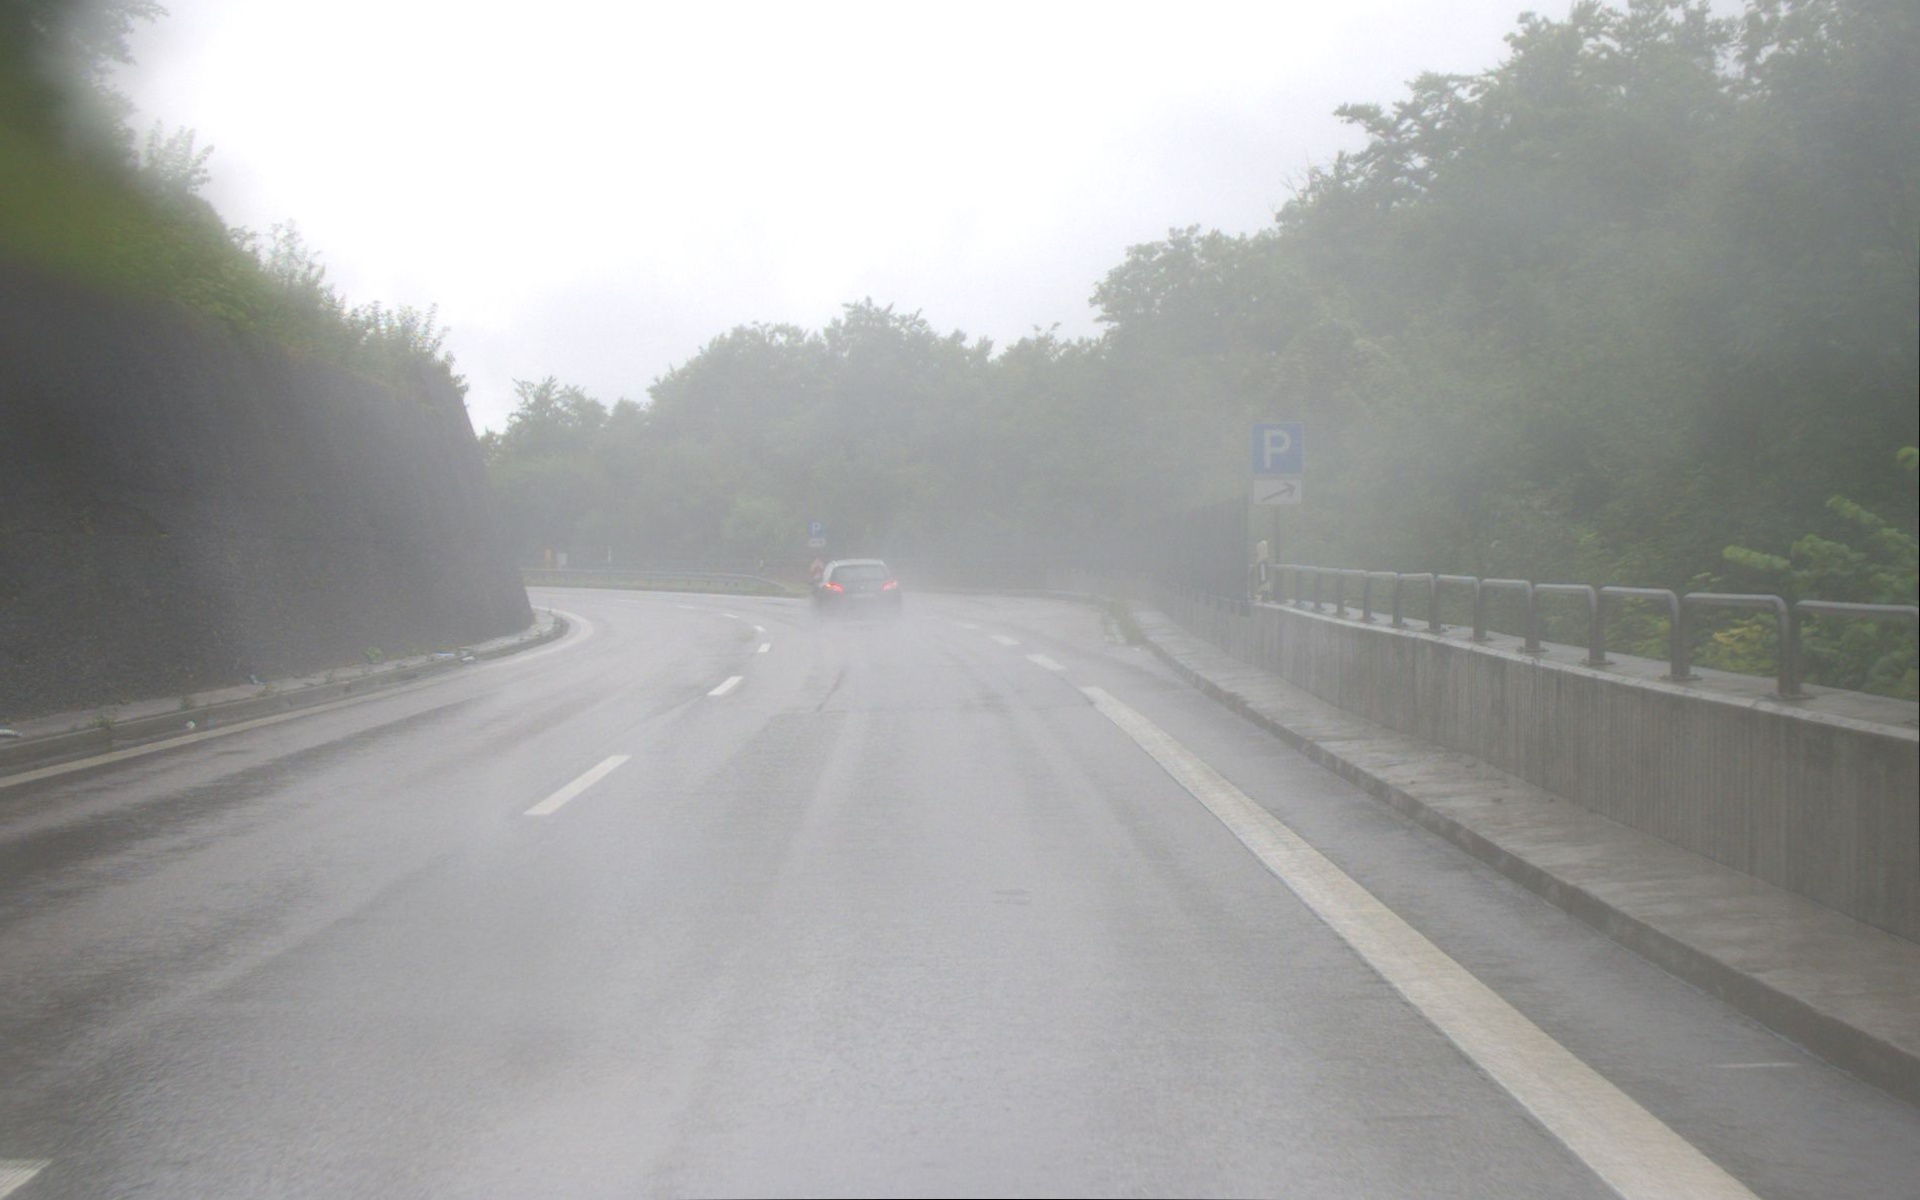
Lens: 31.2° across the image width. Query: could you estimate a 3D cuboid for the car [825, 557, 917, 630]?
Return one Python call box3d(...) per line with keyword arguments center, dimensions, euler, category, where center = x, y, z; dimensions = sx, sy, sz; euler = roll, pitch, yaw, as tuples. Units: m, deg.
box3d(center=(-1.922, -0.161, 74.032), dimensions=(1.903, 1.494, 4.000), euler=(1, 0, -2), category="car")
